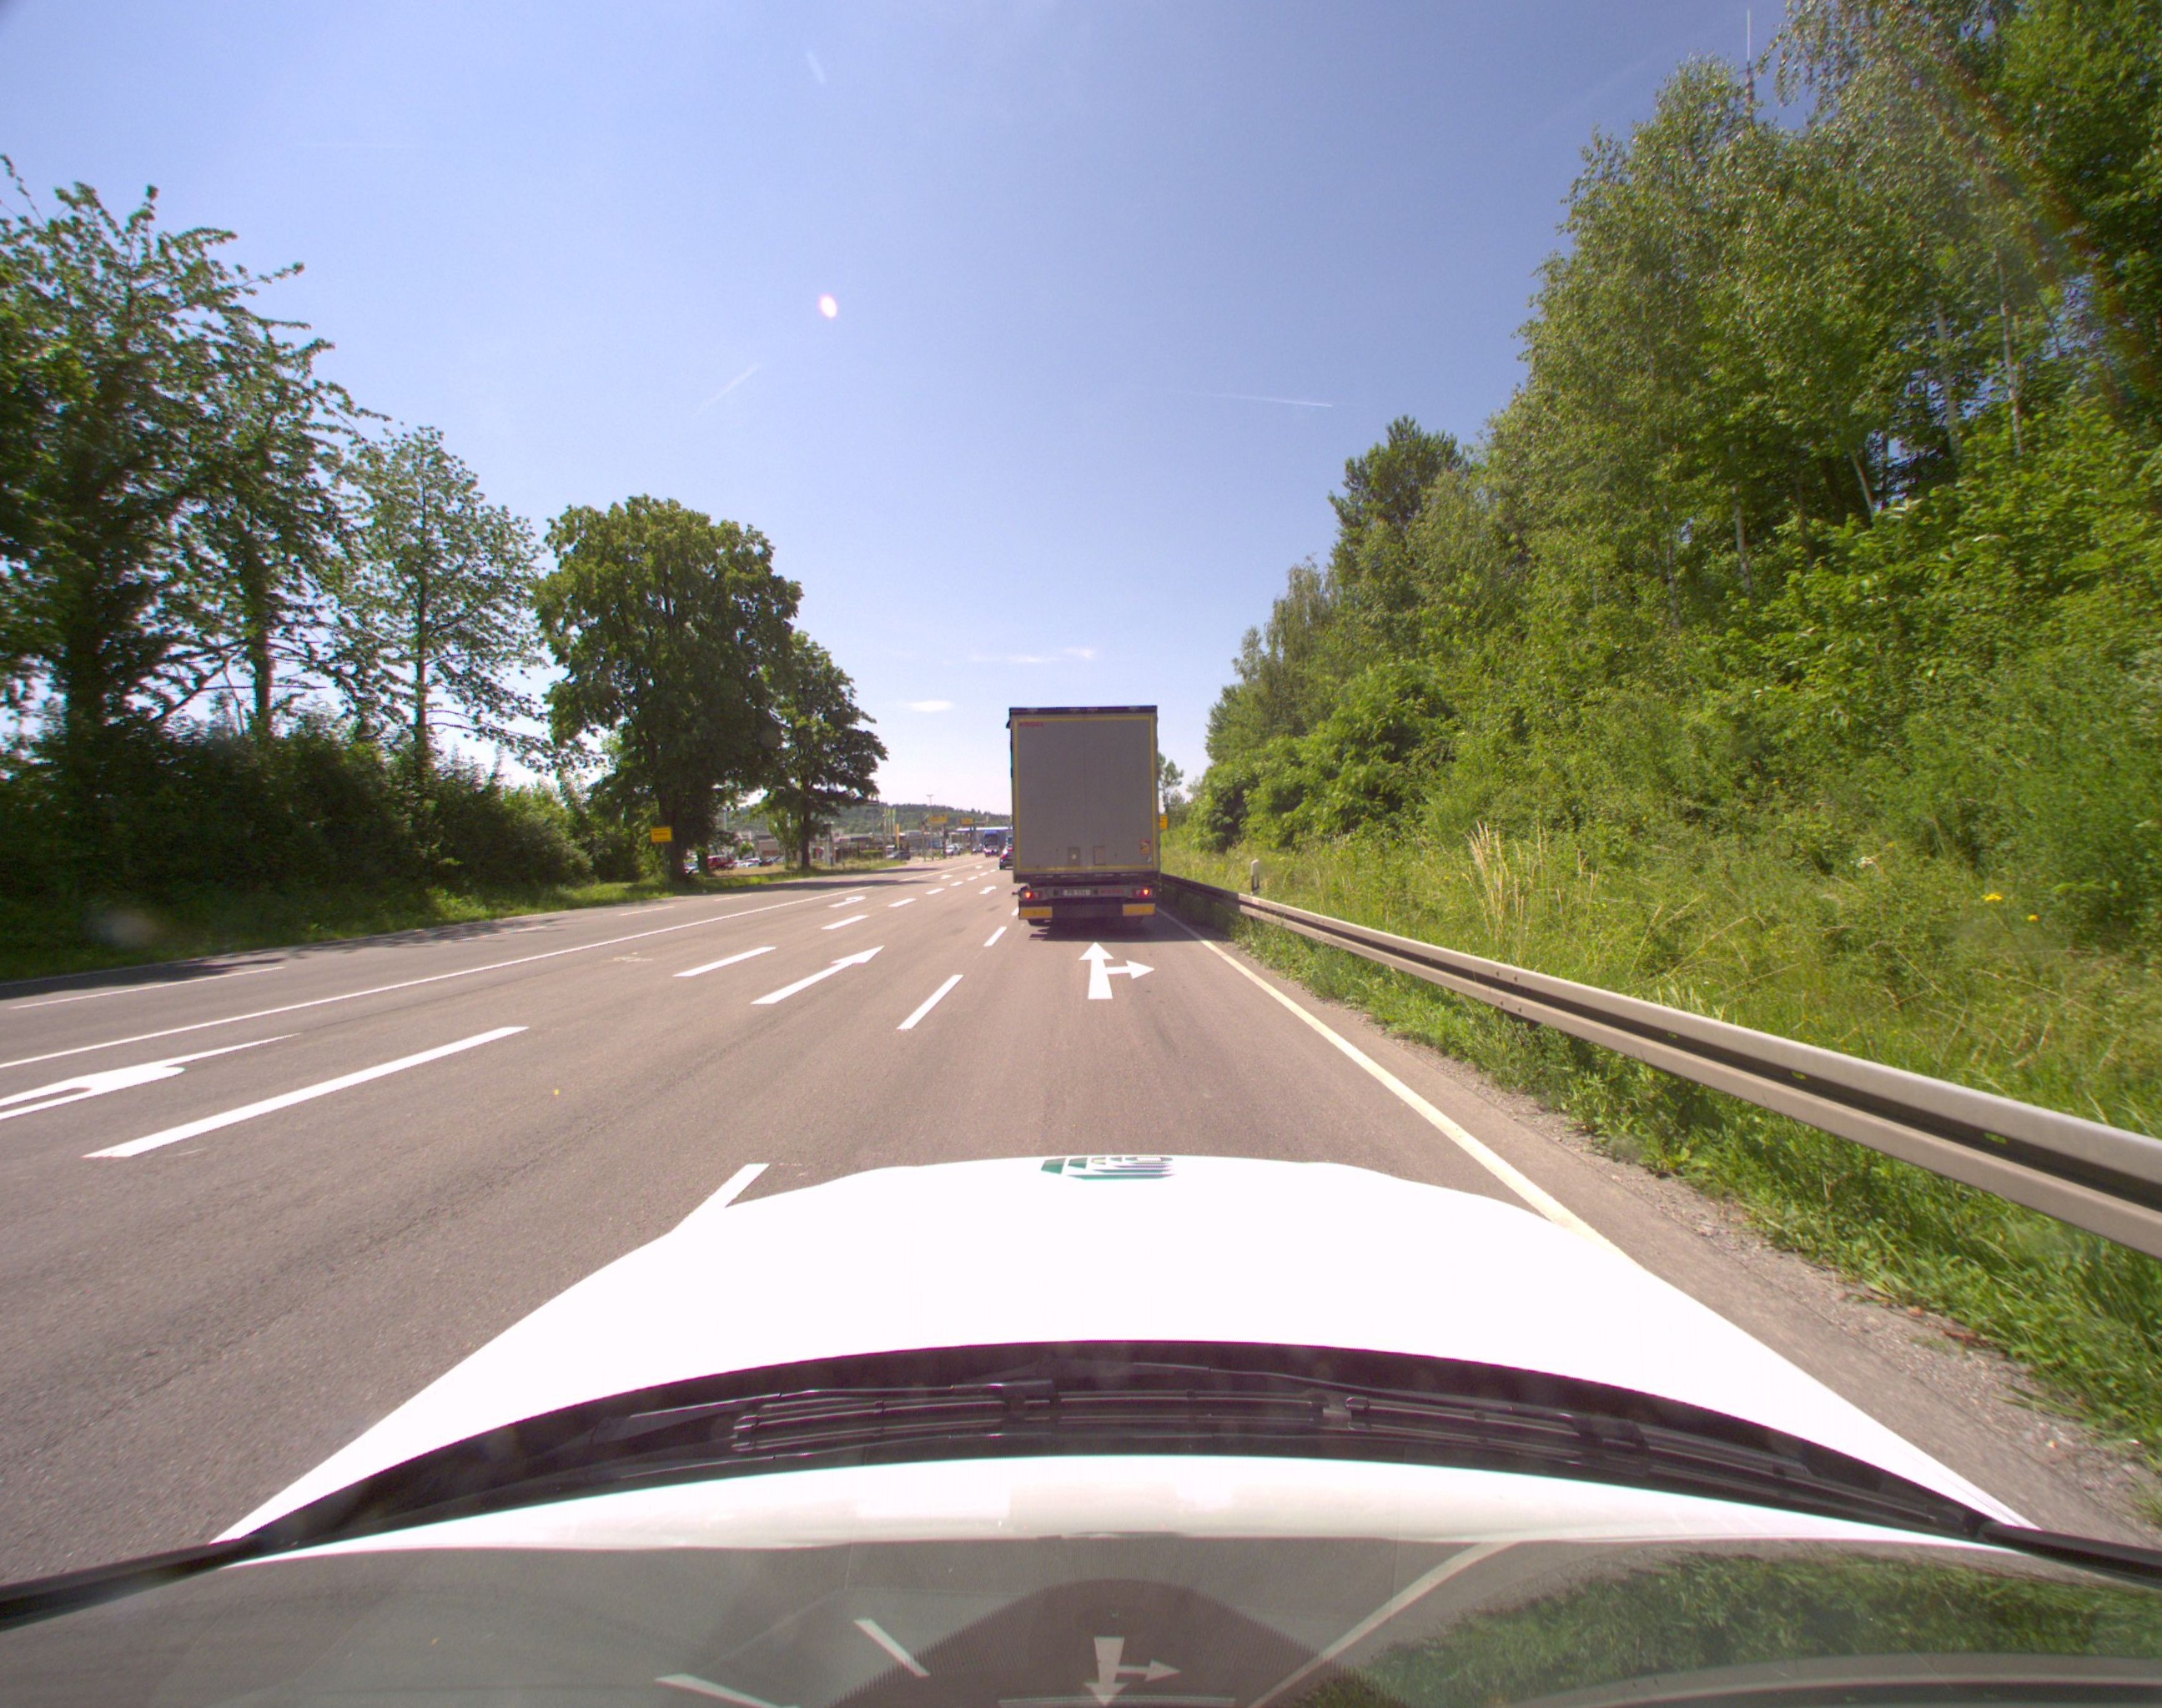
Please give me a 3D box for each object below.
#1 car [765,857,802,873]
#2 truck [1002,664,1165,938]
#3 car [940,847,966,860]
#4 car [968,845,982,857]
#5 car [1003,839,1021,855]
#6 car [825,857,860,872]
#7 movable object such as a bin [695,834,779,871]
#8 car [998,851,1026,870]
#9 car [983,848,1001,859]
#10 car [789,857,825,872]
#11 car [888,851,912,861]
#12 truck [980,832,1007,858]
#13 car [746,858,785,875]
[{"bbox_3d":[-32.336,1.211,88.554,3.948,1.618,1.852,-1,0,36],"label":"car"},{"bbox_3d":[0.113,-0.861,22.104,2.746,4.639,16.654,0,0,0],"label":"truck"},{"bbox_3d":[-21.206,-0.040,135.055,1.974,2.013,4.026,-1,1,35],"label":"car"},{"bbox_3d":[-19.499,-0.542,149.657,1.986,2.013,4.001,-1,0,1],"label":"car"},{"bbox_3d":[-8.977,-0.867,106.173,1.987,2.013,3.999,0,0,-1],"label":"car"},{"bbox_3d":[-27.002,1.236,92.175,3.948,1.618,1.852,-1,0,36],"label":"car"},{"bbox_3d":[-33.454,-0.176,79.339,3.013,3.298,6.835,-1,1,40],"label":"movable object such as a bin"},{"bbox_3d":[-4.819,0.444,57.244,1.523,1.341,3.332,0,0,2],"label":"car"},{"bbox_3d":[-12.082,-0.094,110.903,1.897,1.508,3.765,-1,0,1],"label":"car"},{"bbox_3d":[-30.573,1.144,90.719,3.948,1.618,1.852,-1,0,36],"label":"car"},{"bbox_3d":[-29.655,0.337,133.641,1.871,1.589,4.158,0,0,22],"label":"car"},{"bbox_3d":[-15.442,-1.582,144.897,2.959,4.176,16.569,-2,0,-1],"label":"truck"},{"bbox_3d":[-33.569,1.335,86.669,3.948,1.651,2.013,-1,0,37],"label":"car"}]
